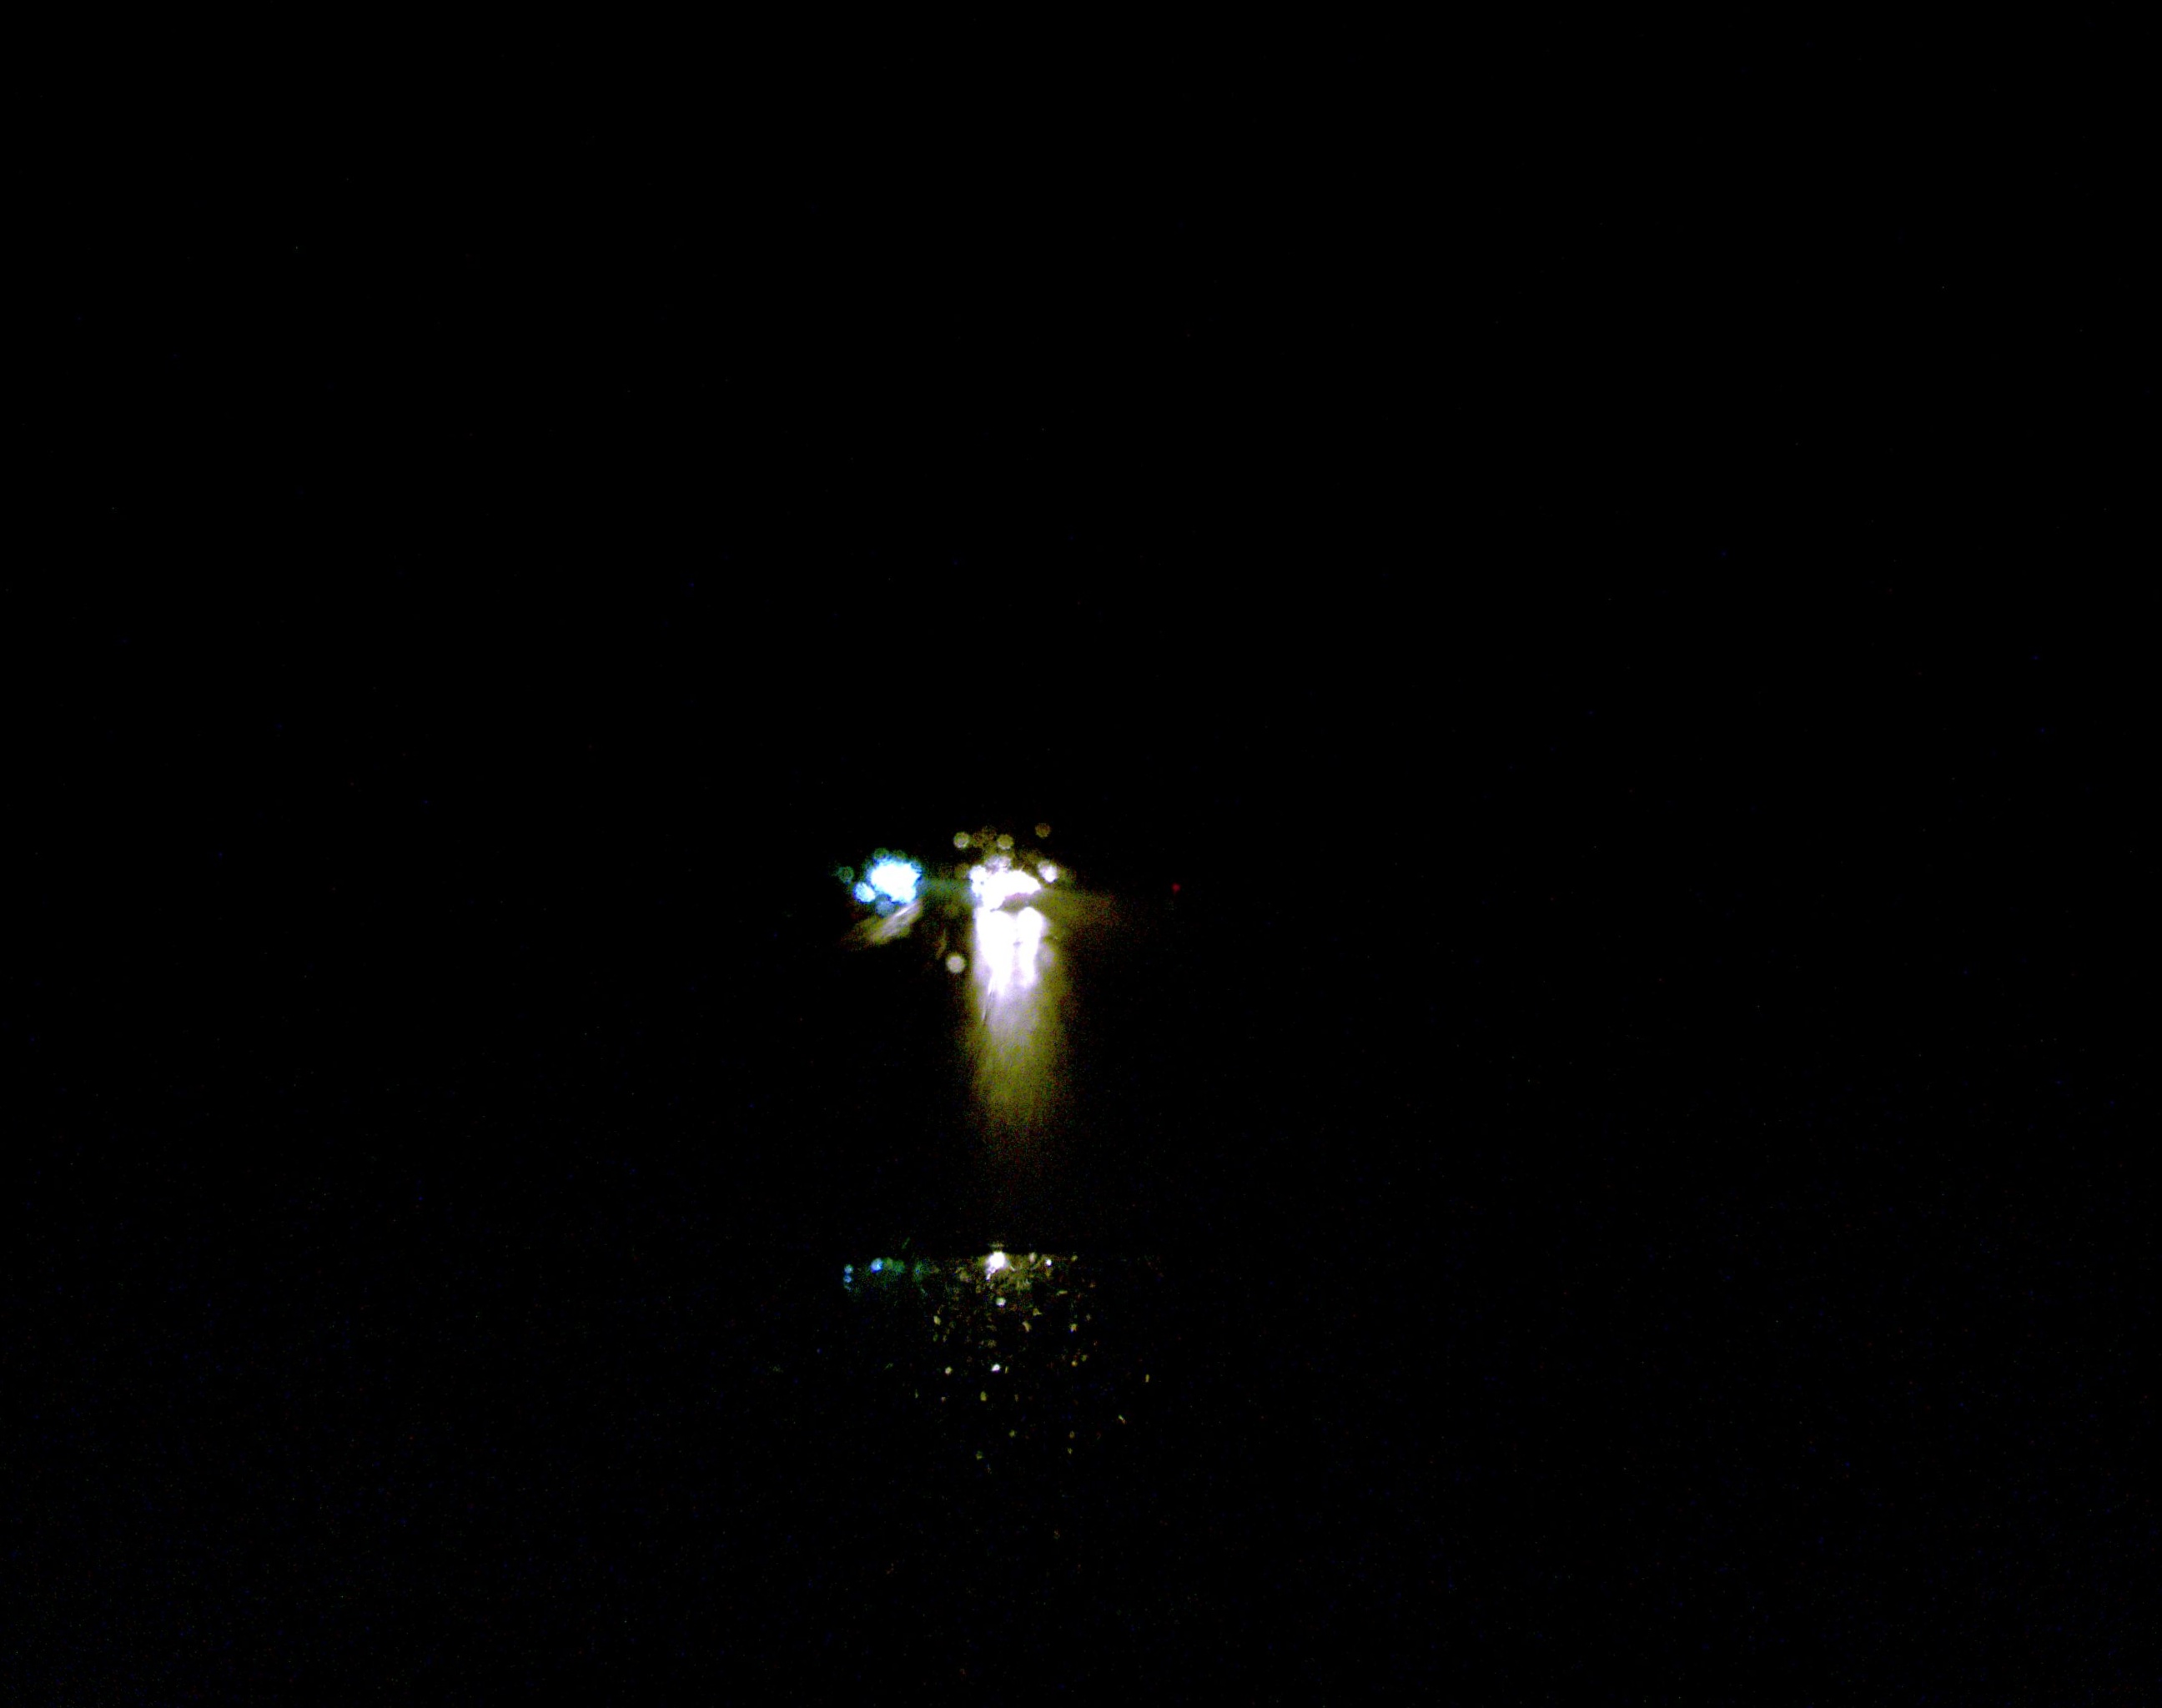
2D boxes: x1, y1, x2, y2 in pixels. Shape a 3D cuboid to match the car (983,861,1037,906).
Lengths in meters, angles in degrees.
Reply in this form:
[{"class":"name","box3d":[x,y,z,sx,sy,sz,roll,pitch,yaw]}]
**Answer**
[{"class":"car","box3d":[-2.708,1.061,28.694,1.850,1.441,3.997,-2,1,-6]}]
